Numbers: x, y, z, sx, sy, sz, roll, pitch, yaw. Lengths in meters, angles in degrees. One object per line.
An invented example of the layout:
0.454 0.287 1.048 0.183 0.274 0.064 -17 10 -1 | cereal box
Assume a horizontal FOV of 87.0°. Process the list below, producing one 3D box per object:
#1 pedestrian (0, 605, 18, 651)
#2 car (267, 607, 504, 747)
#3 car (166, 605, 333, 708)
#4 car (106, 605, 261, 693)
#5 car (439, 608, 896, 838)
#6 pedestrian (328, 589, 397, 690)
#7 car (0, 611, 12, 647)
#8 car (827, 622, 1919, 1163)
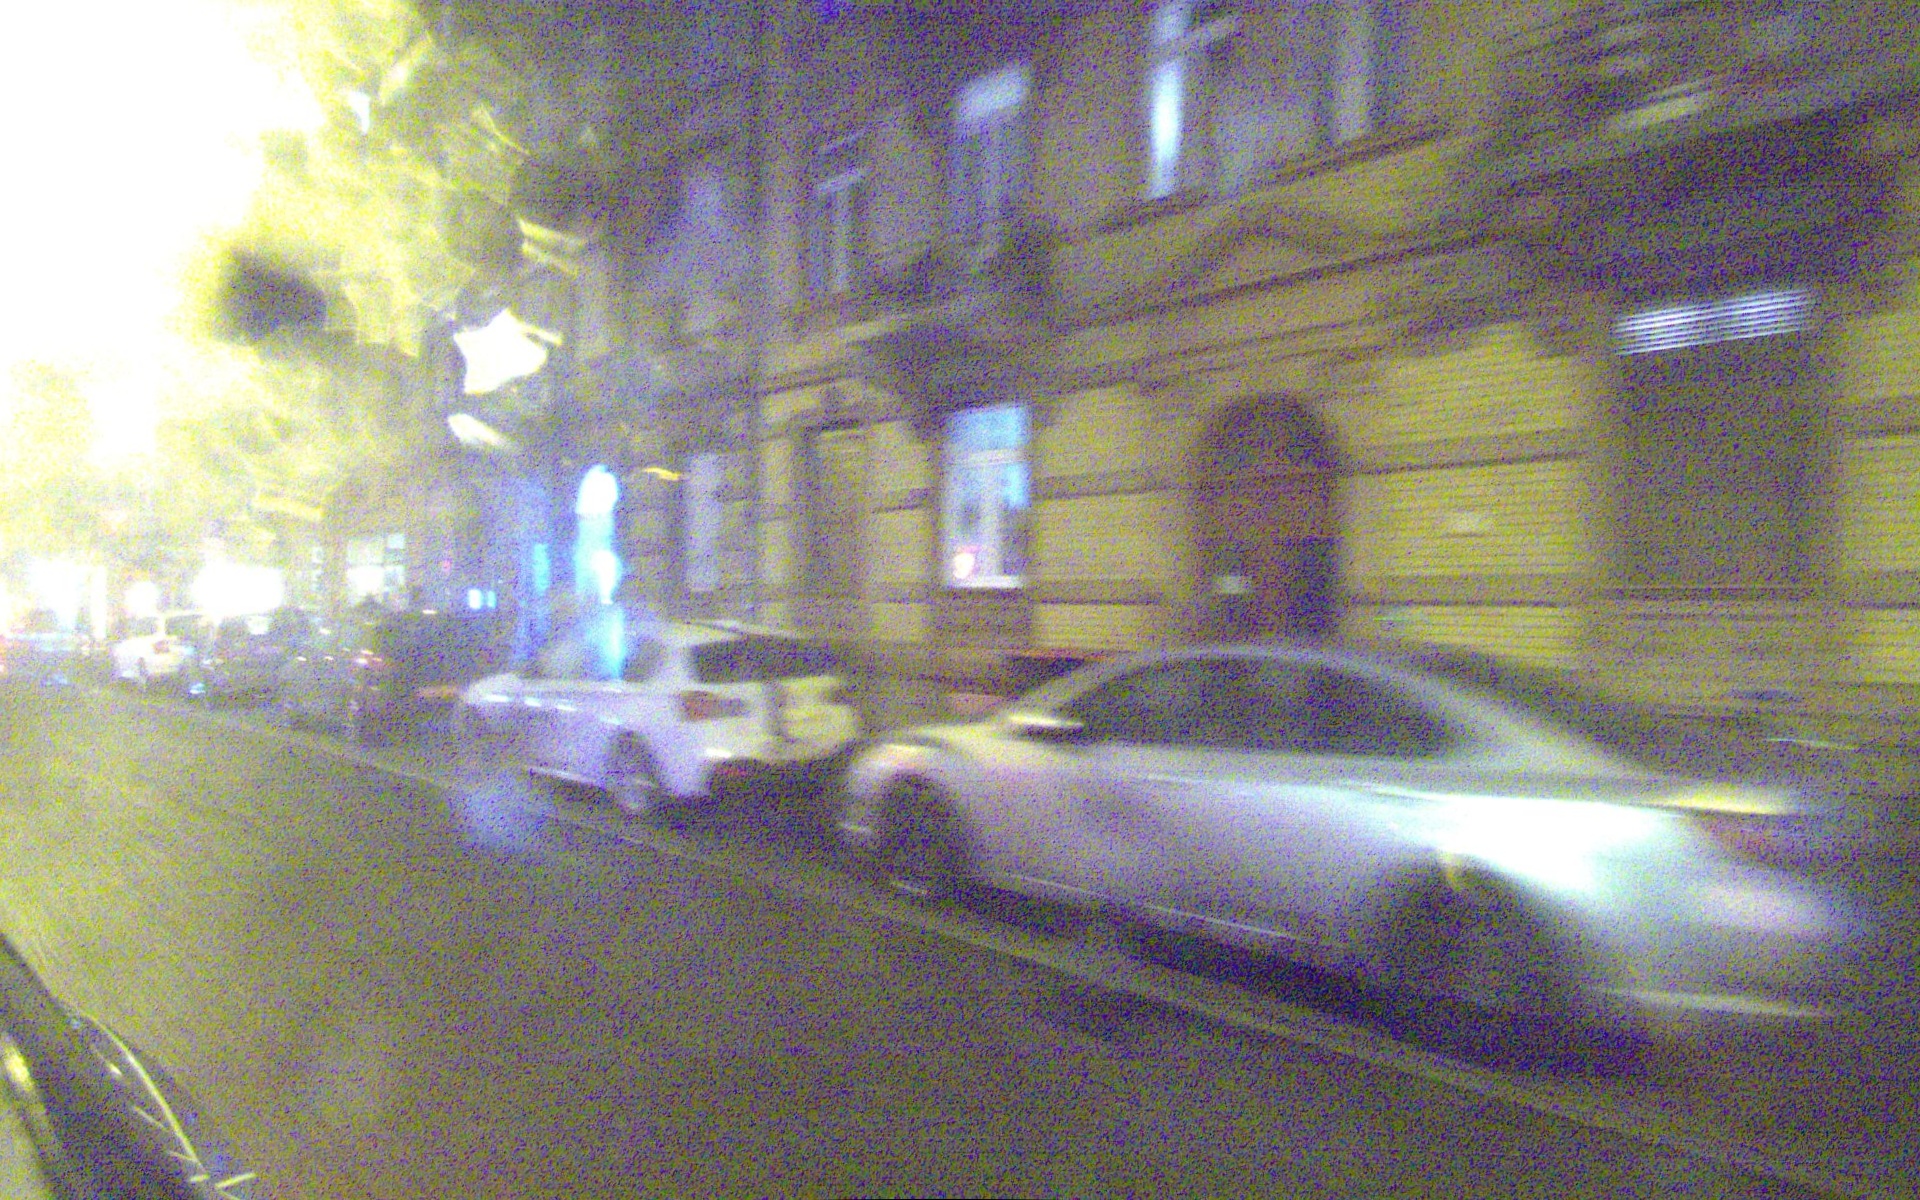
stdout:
-42.723 1.232 45.280 0.587 2.028 0.766 0 2 41 | pedestrian
-7.065 0.827 12.327 3.382 1.464 1.512 -1 -1 42 | car
-11.629 0.865 16.497 3.385 1.490 1.673 -2 -2 45 | car
-14.707 0.892 19.096 3.962 1.490 1.674 -2 -2 43 | car
-2.646 0.811 8.551 4.271 1.464 1.708 -1 -1 42 | car
-11.014 0.704 18.664 0.629 1.801 0.900 0 2 42 | pedestrian
-39.181 1.176 39.641 4.055 1.405 1.860 -2 -2 29 | car
1.514 0.827 4.795 4.553 1.402 1.708 -1 -1 42 | car
